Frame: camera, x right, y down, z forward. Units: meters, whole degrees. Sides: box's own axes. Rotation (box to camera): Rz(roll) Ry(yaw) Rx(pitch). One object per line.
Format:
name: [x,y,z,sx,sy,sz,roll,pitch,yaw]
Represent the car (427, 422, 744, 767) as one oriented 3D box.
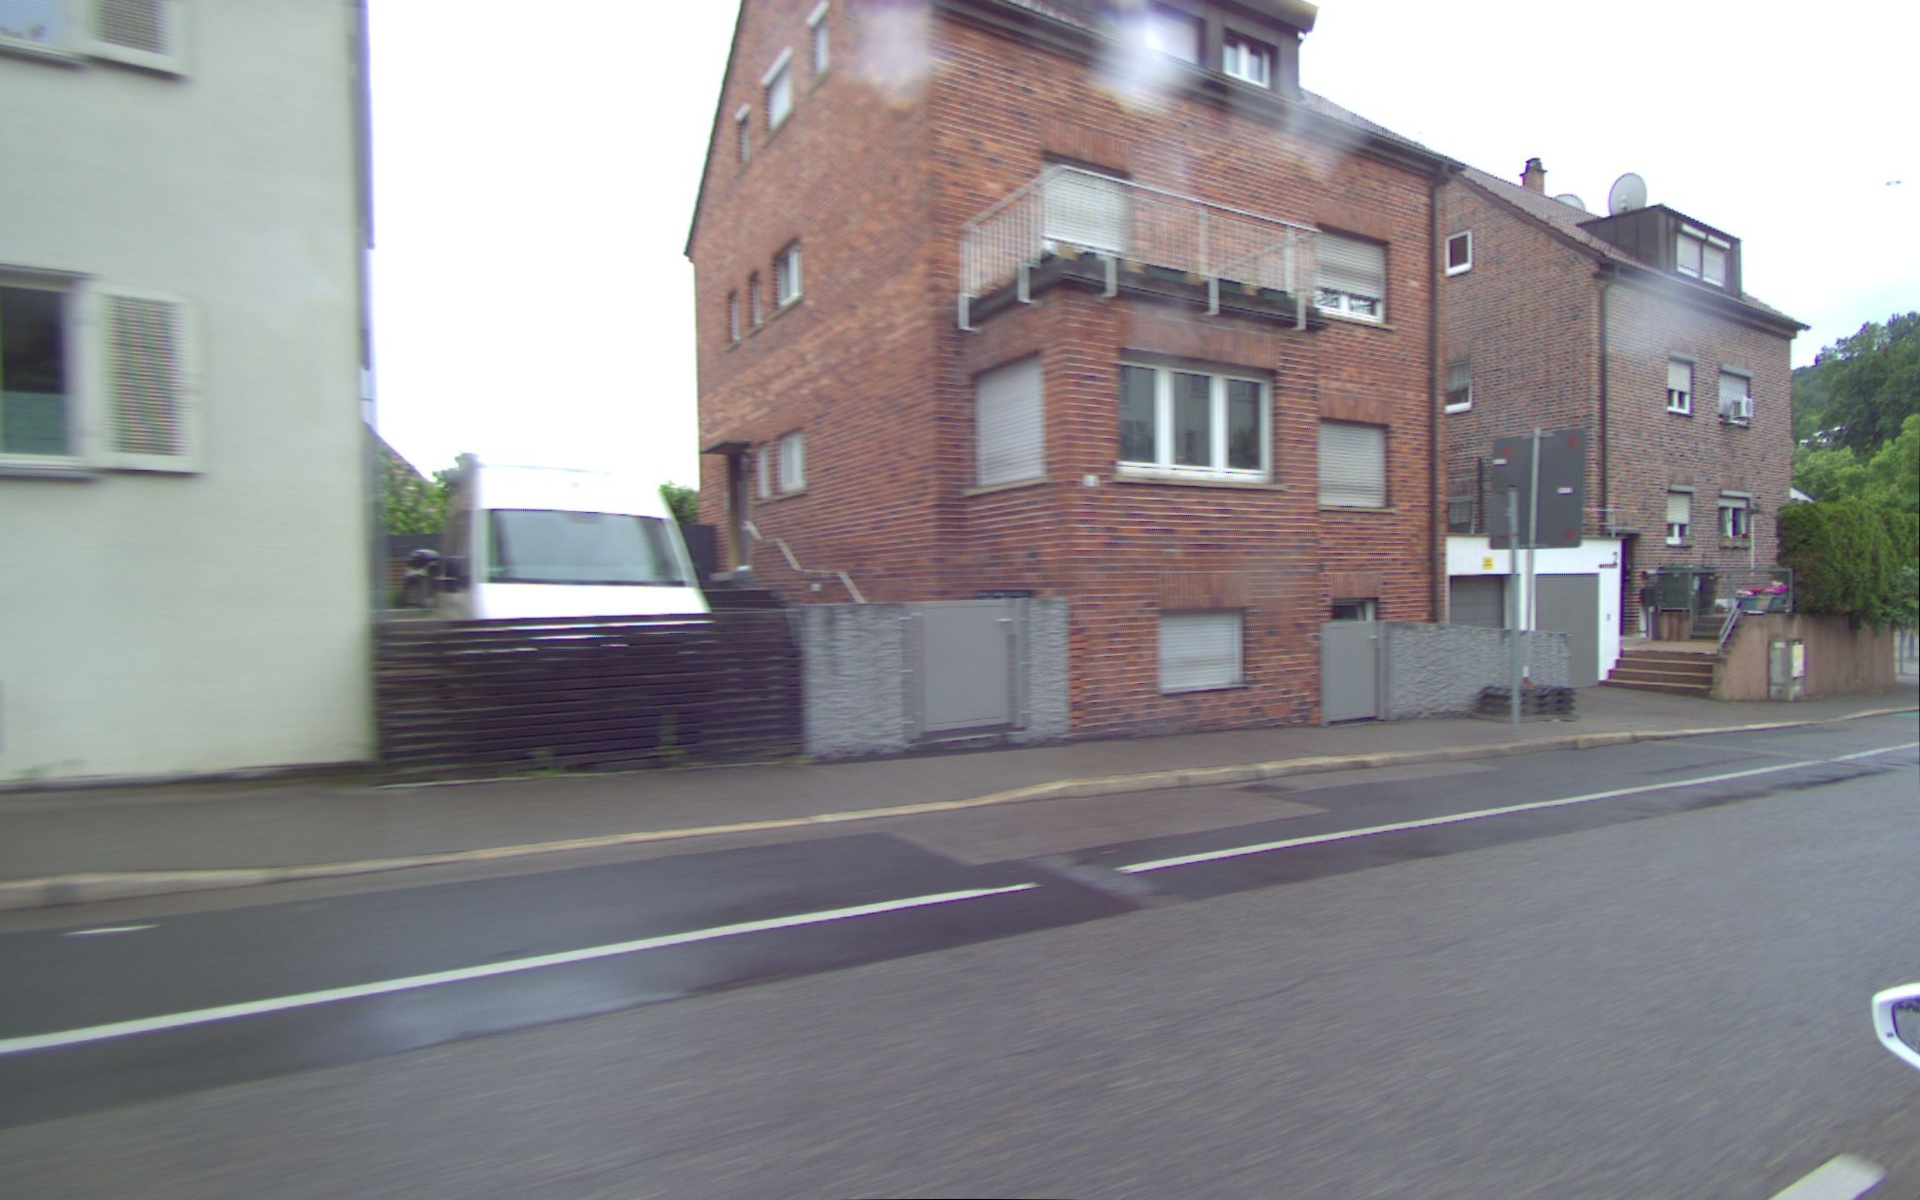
car: [-4.452,-0.028,10.964,2.142,2.587,6.623,3,-1,-30]
